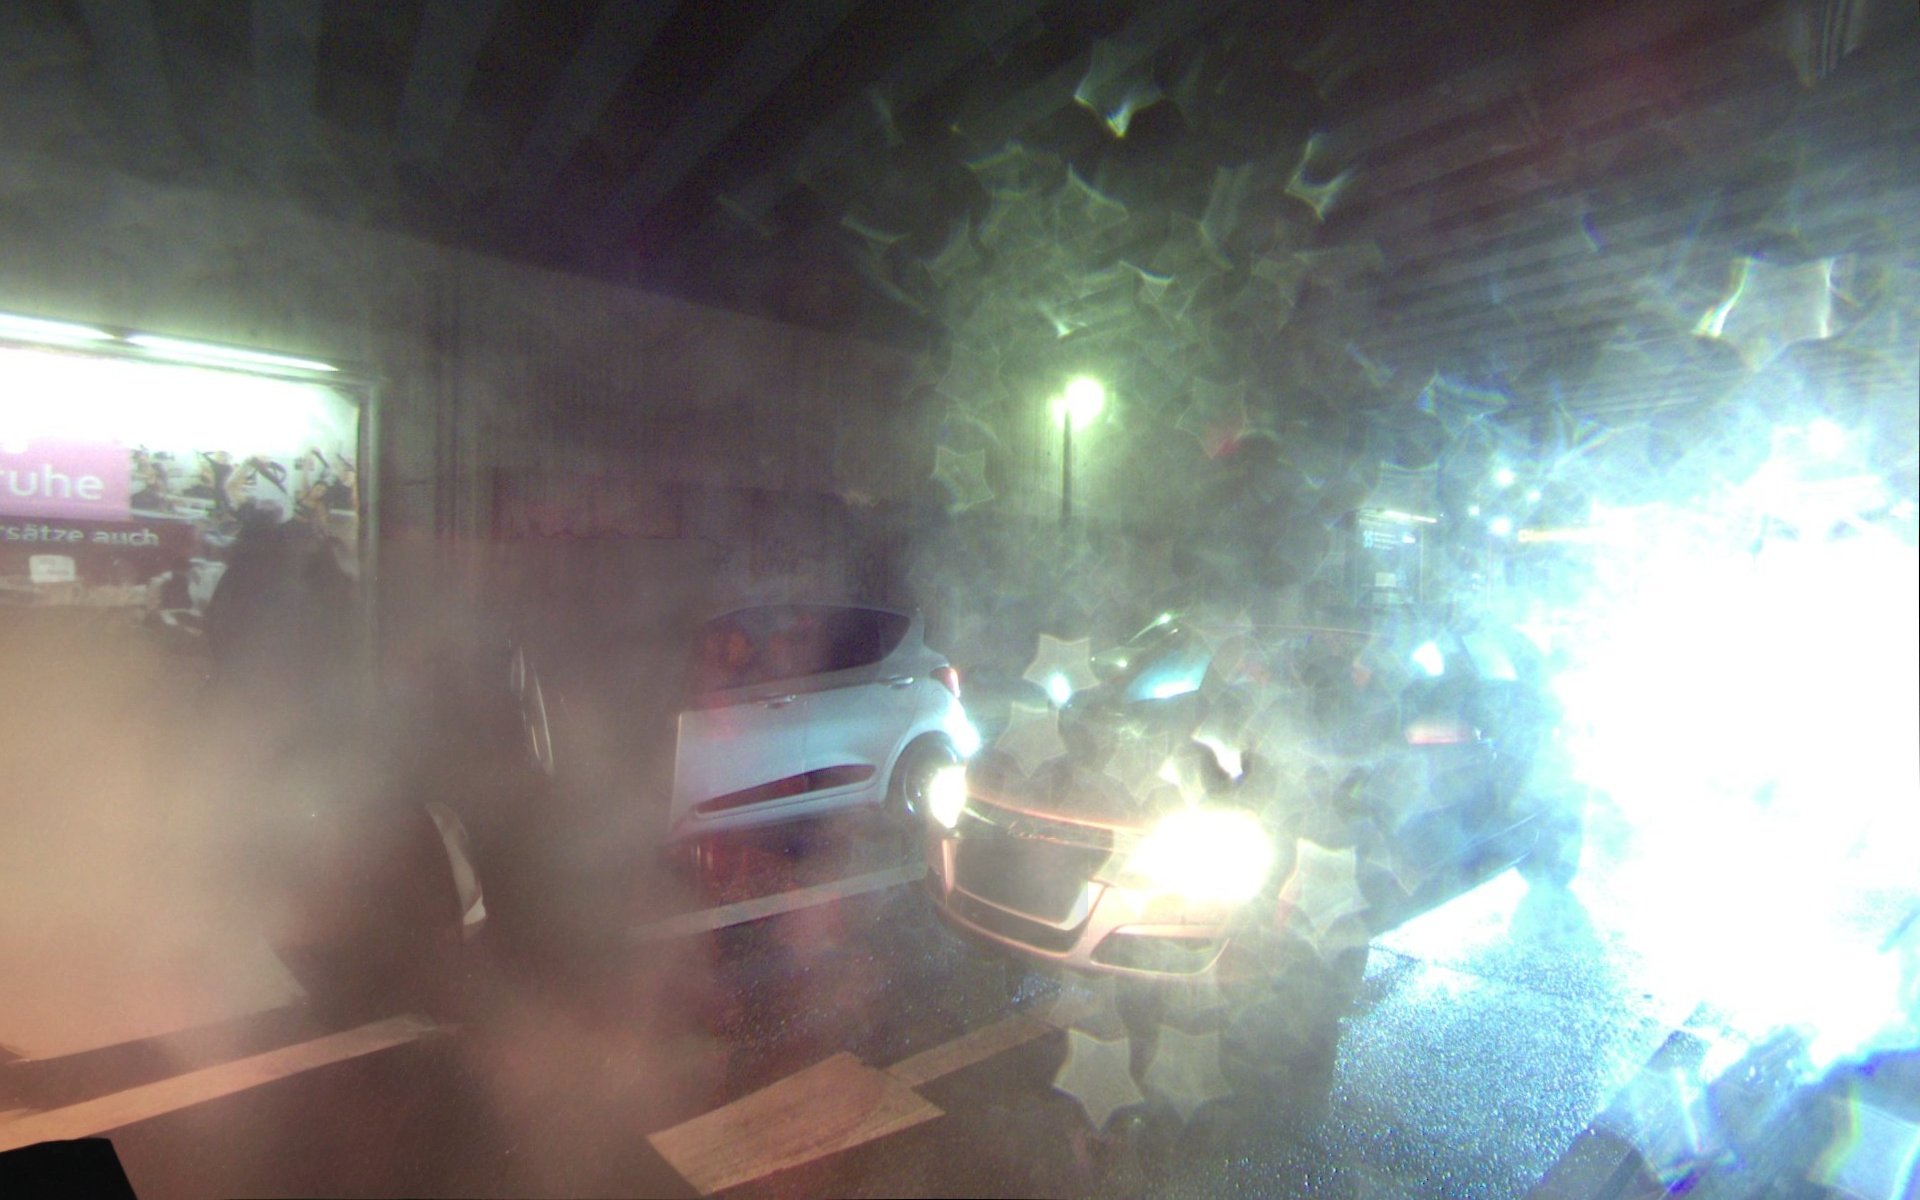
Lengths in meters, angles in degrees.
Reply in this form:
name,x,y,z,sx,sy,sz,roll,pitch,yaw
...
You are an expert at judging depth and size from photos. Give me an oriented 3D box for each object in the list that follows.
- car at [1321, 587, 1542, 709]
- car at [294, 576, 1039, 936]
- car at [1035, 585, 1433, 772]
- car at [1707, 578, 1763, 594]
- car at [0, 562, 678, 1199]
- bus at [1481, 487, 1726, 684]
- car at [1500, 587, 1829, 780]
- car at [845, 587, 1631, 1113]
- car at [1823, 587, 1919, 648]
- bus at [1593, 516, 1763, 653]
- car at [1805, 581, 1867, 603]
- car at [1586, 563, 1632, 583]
name,x,y,z,sx,sy,sz,roll,pitch,yaw
car,7.148,0.597,15.151,1.721,1.505,4.096,3,3,44
car,-1.558,0.626,6.266,4.091,1.464,1.723,-1,3,-42
car,3.028,0.616,10.526,4.705,1.505,1.723,-1,2,-42
car,68.044,-1.238,88.904,1.869,1.407,4.602,0,1,8
car,-2.669,0.690,0.973,4.308,1.464,1.723,-1,3,-42
bus,14.000,-0.322,21.532,2.733,3.318,9.550,1,1,43
car,7.024,0.662,9.921,4.091,1.506,1.722,-1,-2,-42
car,1.618,0.679,4.866,4.091,1.464,1.723,-1,1,-42
car,24.848,0.417,27.688,1.749,1.464,3.917,3,3,39
bus,20.489,-0.447,28.591,2.733,3.278,9.551,1,1,43
car,62.031,-0.599,71.730,1.579,1.556,4.292,0,1,15
car,46.338,-1.915,72.351,1.685,1.407,3.979,0,1,17
